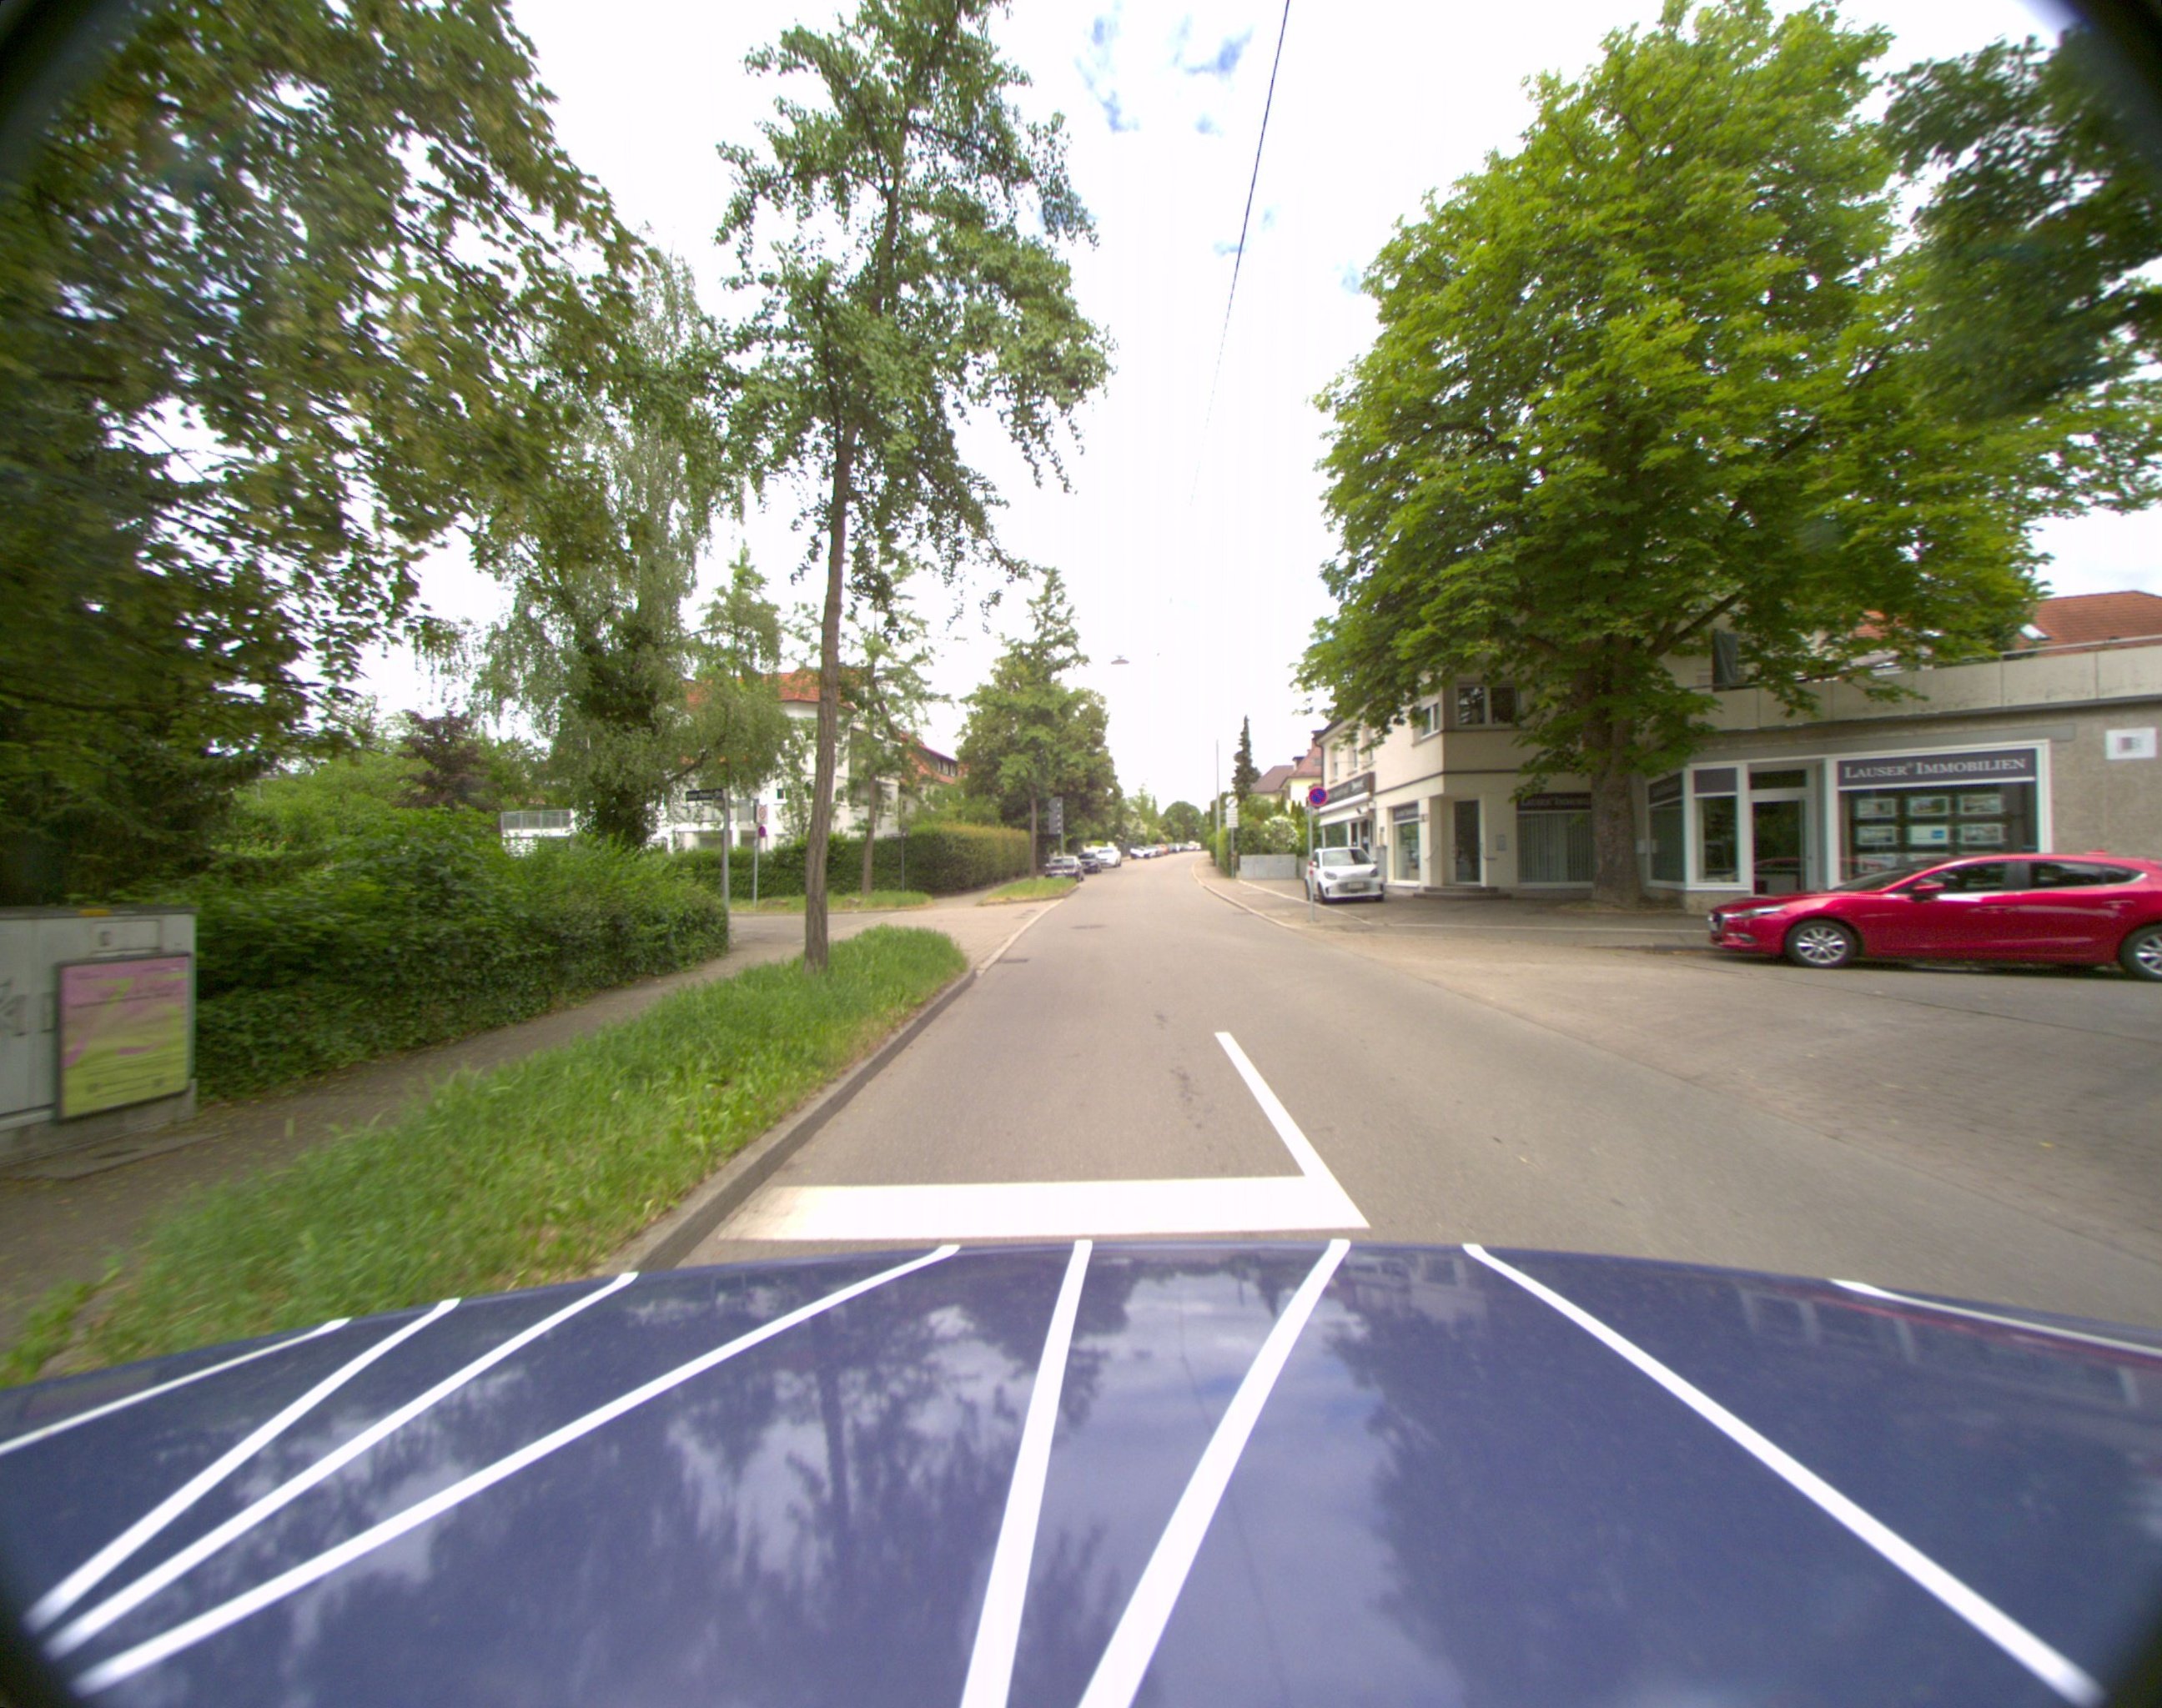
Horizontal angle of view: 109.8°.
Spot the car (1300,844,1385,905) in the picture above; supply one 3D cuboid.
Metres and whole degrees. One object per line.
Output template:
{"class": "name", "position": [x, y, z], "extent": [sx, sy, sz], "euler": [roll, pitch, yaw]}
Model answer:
{"class": "car", "position": [7.350, 0.547, 21.620], "extent": [1.592, 1.529, 2.924], "euler": [-3, 0, 6]}

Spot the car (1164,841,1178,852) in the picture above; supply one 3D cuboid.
{"class": "car", "position": [14.455, -1.286, 121.802], "extent": [1.953, 1.617, 4.379], "euler": [-2, 1, 10]}

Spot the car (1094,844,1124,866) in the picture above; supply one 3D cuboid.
{"class": "car", "position": [2.337, 0.058, 62.090], "extent": [1.868, 1.675, 4.353], "euler": [-2, 1, 10]}

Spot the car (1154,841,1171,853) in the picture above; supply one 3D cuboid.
{"class": "car", "position": [11.684, -1.033, 108.724], "extent": [1.853, 1.617, 4.172], "euler": [-2, 1, 11]}

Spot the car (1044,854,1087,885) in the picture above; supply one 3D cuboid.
{"class": "car", "position": [-0.749, 0.755, 39.923], "extent": [1.713, 1.404, 3.791], "euler": [-3, 1, 7]}

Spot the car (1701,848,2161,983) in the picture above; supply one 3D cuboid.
{"class": "car", "position": [10.678, 0.702, 9.565], "extent": [4.222, 1.423, 1.820], "euler": [-1, -2, 31]}

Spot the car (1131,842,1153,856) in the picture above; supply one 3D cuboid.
{"class": "car", "position": [7.131, -0.568, 88.165], "extent": [2.290, 1.515, 1.319], "euler": [0, 1, 17]}

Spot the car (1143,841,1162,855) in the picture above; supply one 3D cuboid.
{"class": "car", "position": [9.068, -0.735, 96.100], "extent": [1.832, 1.614, 4.495], "euler": [-1, 1, 12]}

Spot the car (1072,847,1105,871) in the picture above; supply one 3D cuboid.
{"class": "car", "position": [0.550, 0.326, 51.359], "extent": [1.713, 1.479, 3.792], "euler": [-2, 1, 7]}
